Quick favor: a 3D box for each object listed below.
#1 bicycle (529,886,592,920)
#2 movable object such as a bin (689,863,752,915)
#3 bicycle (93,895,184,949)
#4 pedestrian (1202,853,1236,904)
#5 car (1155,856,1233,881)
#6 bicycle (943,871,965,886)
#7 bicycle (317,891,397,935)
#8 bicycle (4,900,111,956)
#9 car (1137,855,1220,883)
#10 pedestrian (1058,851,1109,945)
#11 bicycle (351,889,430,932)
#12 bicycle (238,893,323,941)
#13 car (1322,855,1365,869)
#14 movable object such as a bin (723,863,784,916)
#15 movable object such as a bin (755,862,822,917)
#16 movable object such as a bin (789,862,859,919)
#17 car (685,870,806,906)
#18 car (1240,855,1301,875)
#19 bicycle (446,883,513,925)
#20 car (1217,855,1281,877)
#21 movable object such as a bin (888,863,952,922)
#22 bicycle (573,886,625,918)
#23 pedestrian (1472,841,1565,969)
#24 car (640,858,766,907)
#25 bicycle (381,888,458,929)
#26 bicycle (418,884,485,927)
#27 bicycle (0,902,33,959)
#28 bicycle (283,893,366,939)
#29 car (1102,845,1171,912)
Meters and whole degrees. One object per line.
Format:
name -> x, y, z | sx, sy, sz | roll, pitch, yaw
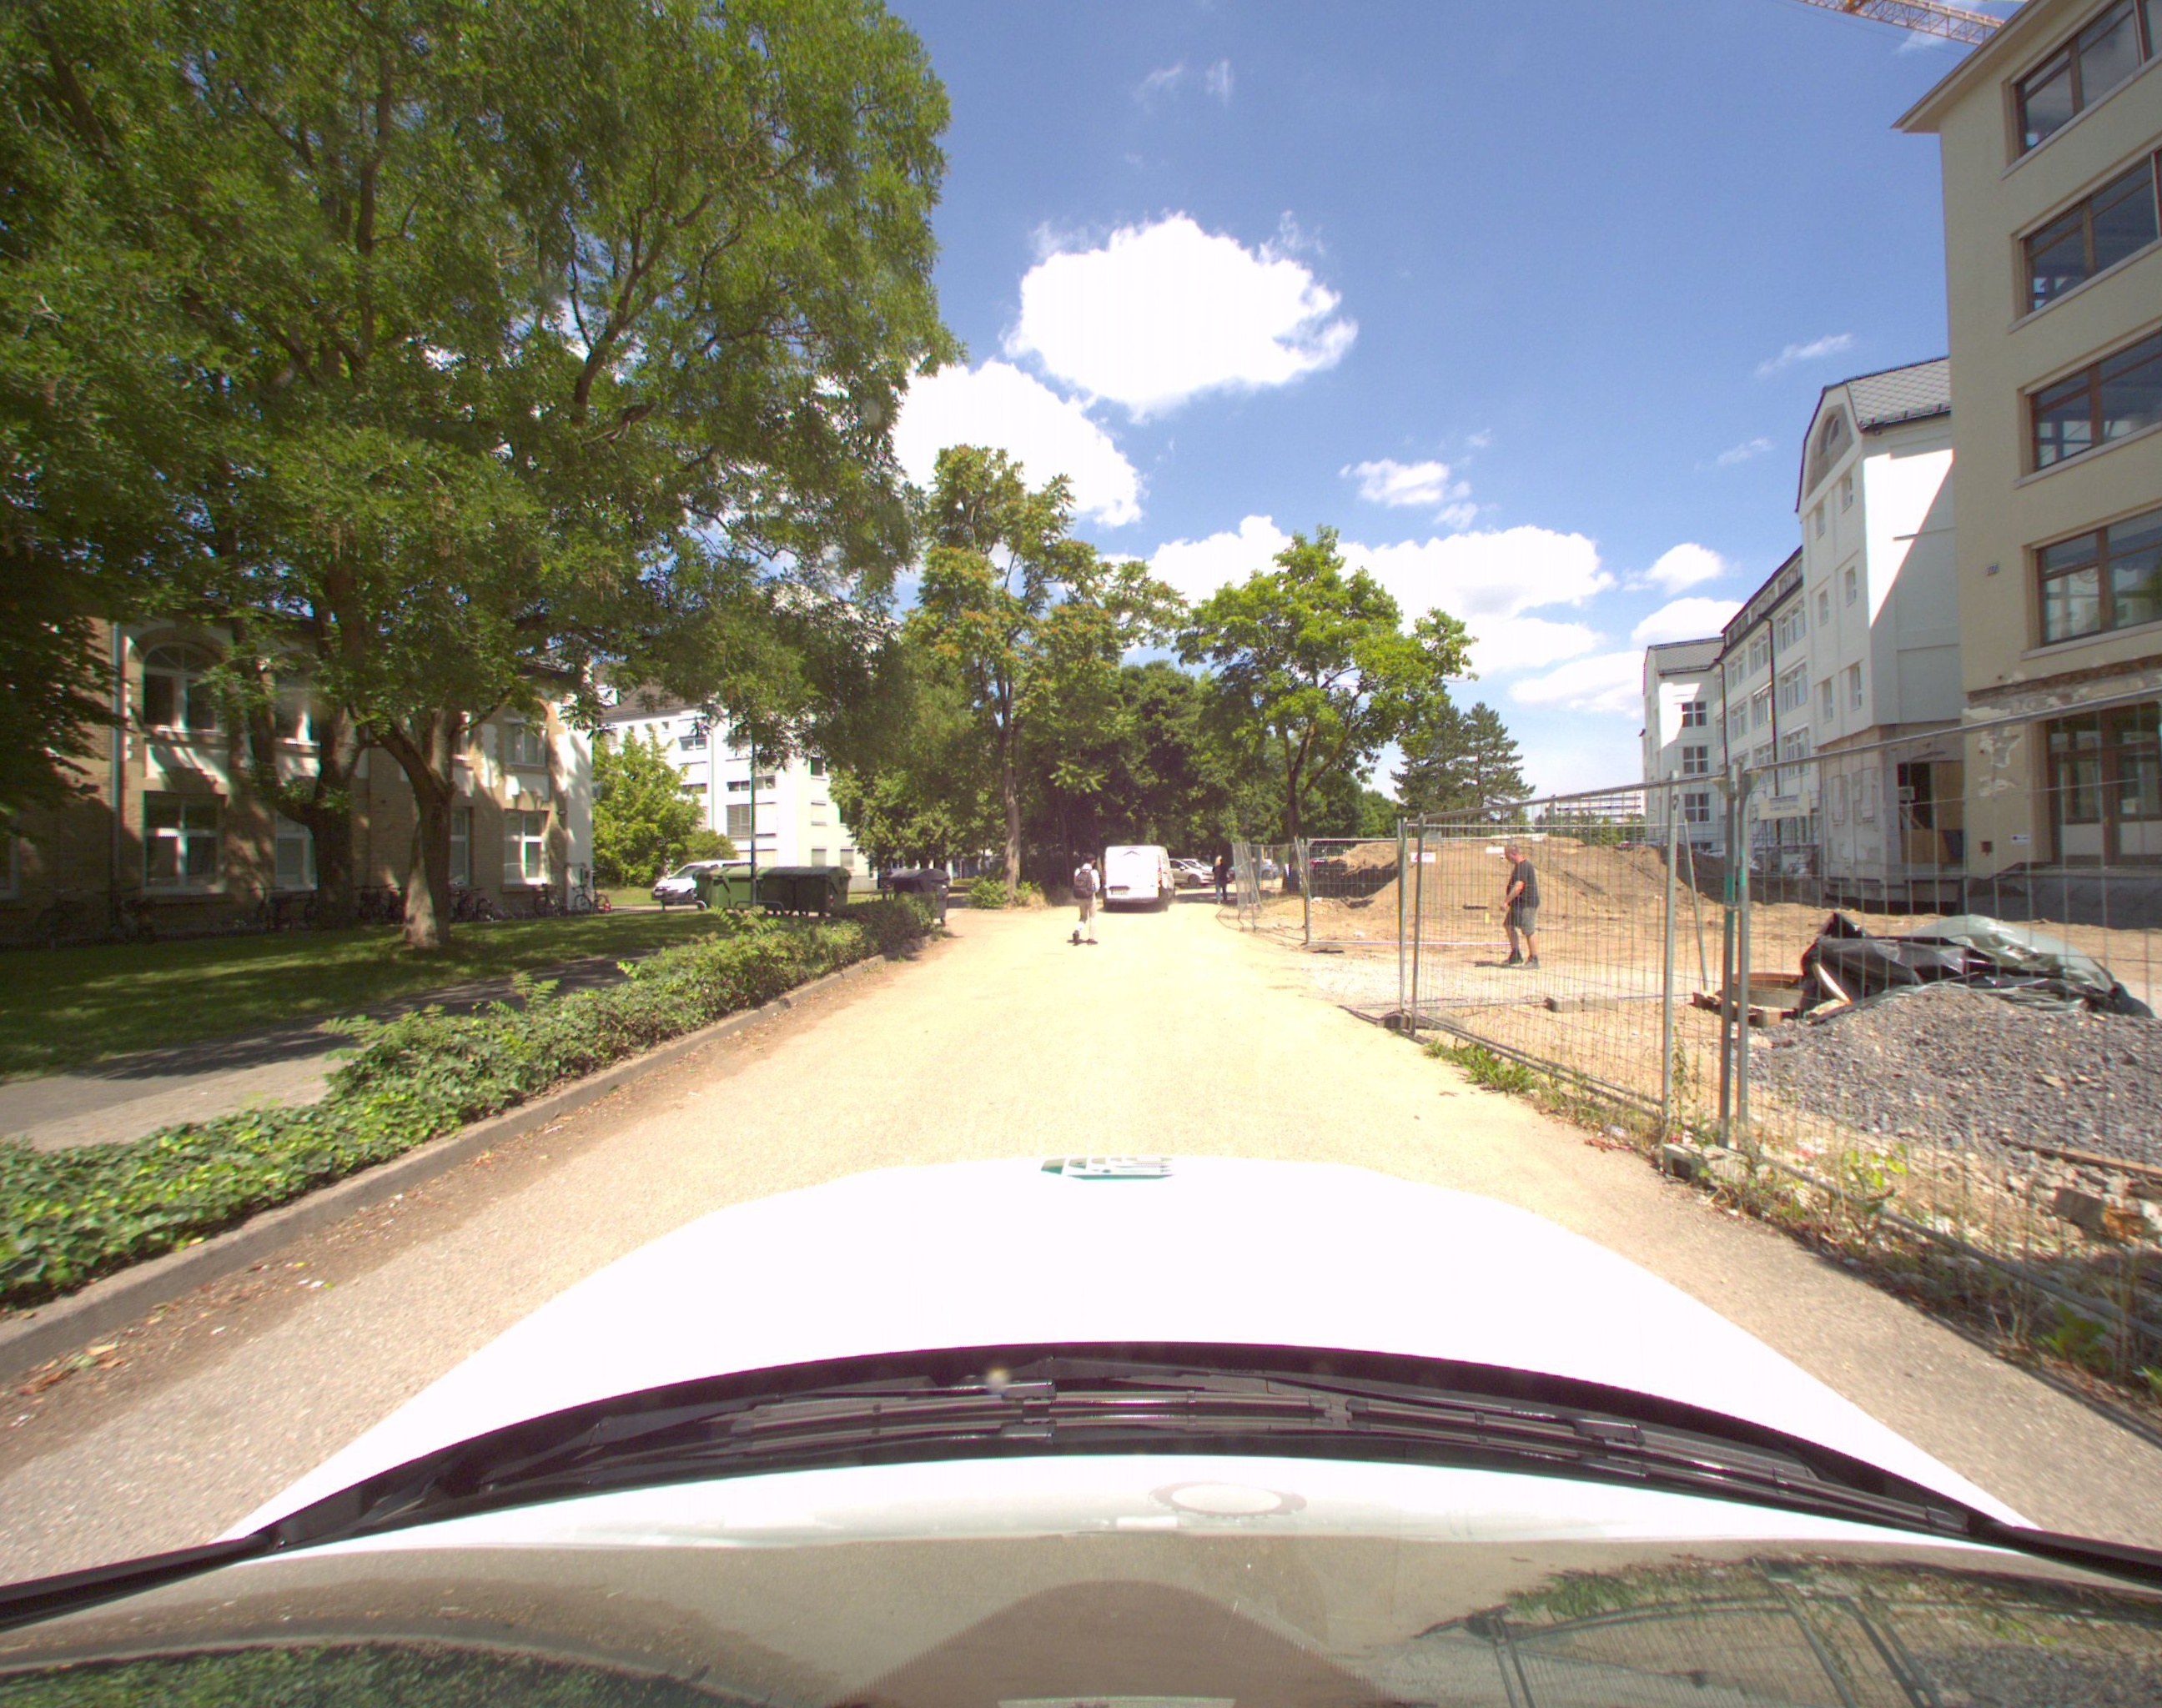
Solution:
bicycle -> -15.620, 1.460, 24.433 | 2.231, 0.958, 0.611 | -1, -1, 29
movable object such as a bin -> -10.692, 1.028, 24.175 | 1.392, 1.479, 1.054 | -1, 0, 28
bicycle -> -19.575, 1.389, 16.910 | 2.232, 1.011, 0.611 | -1, -1, 24
pedestrian -> 4.620, 0.815, 27.278 | 1.028, 1.650, 1.053 | -1, 0, 13
car -> 7.012, 0.911, 50.710 | 4.463, 1.531, 1.736 | -1, -1, 27
bicycle -> -9.553, 1.867, 61.390 | 0.594, 1.084, 1.951 | -1, -1, 26
bicycle -> -17.855, 1.427, 20.076 | 2.232, 1.011, 0.611 | -1, -1, 24
bicycle -> -20.084, 1.430, 15.971 | 2.233, 1.011, 0.610 | -1, -1, 20
car -> 5.798, 0.916, 48.467 | 4.463, 1.609, 2.012 | -1, -3, 28
pedestrian -> 0.067, 0.823, 15.725 | 0.870, 1.729, 1.082 | -1, 0, 5
bicycle -> -17.549, 1.421, 20.677 | 2.232, 1.011, 0.611 | -1, -1, 24
bicycle -> -18.492, 1.437, 18.806 | 2.232, 1.011, 0.611 | -1, -1, 24
car -> 30.241, 0.929, 93.982 | 4.463, 1.598, 1.736 | -1, 0, 27
movable object such as a bin -> -9.412, 1.007, 23.444 | 1.246, 1.479, 1.054 | -1, 0, 28
movable object such as a bin -> -8.174, 0.986, 22.811 | 1.345, 1.479, 1.101 | -1, 0, 17
movable object such as a bin -> -6.996, 0.966, 22.216 | 1.309, 1.479, 1.215 | -1, 0, 25
car -> -14.112, 1.401, 34.547 | 1.810, 1.352, 4.654 | -1, 0, 28
car -> 15.567, 0.918, 66.924 | 4.463, 1.598, 1.948 | -1, 0, 28
bicycle -> -16.666, 1.355, 22.548 | 2.231, 1.082, 0.611 | -1, -1, 29
car -> 12.798, 0.897, 61.988 | 4.463, 1.597, 1.736 | -1, 0, 27
movable object such as a bin -> -4.015, 0.938, 20.285 | 1.122, 1.394, 1.147 | -1, 0, -39
bicycle -> -15.112, 1.498, 25.532 | 1.708, 0.958, 0.617 | -1, -1, 29
pedestrian -> 6.463, 0.739, 12.092 | 0.959, 1.819, 0.873 | -1, -1, 9
car -> -16.631, 1.210, 36.066 | 1.975, 2.014, 4.804 | -2, -1, 28
bicycle -> -17.289, 1.414, 21.285 | 2.232, 1.011, 0.611 | -1, -1, 24
bicycle -> -17.006, 1.368, 21.996 | 2.231, 1.082, 0.611 | -1, -1, 29
bicycle -> -20.491, 1.405, 15.117 | 2.233, 1.011, 0.610 | -1, -1, 20
bicycle -> -18.090, 1.453, 19.464 | 2.232, 1.011, 0.611 | -1, -1, 24
car -> 1.886, 0.741, 26.228 | 1.962, 1.947, 4.589 | -1, 0, 7
